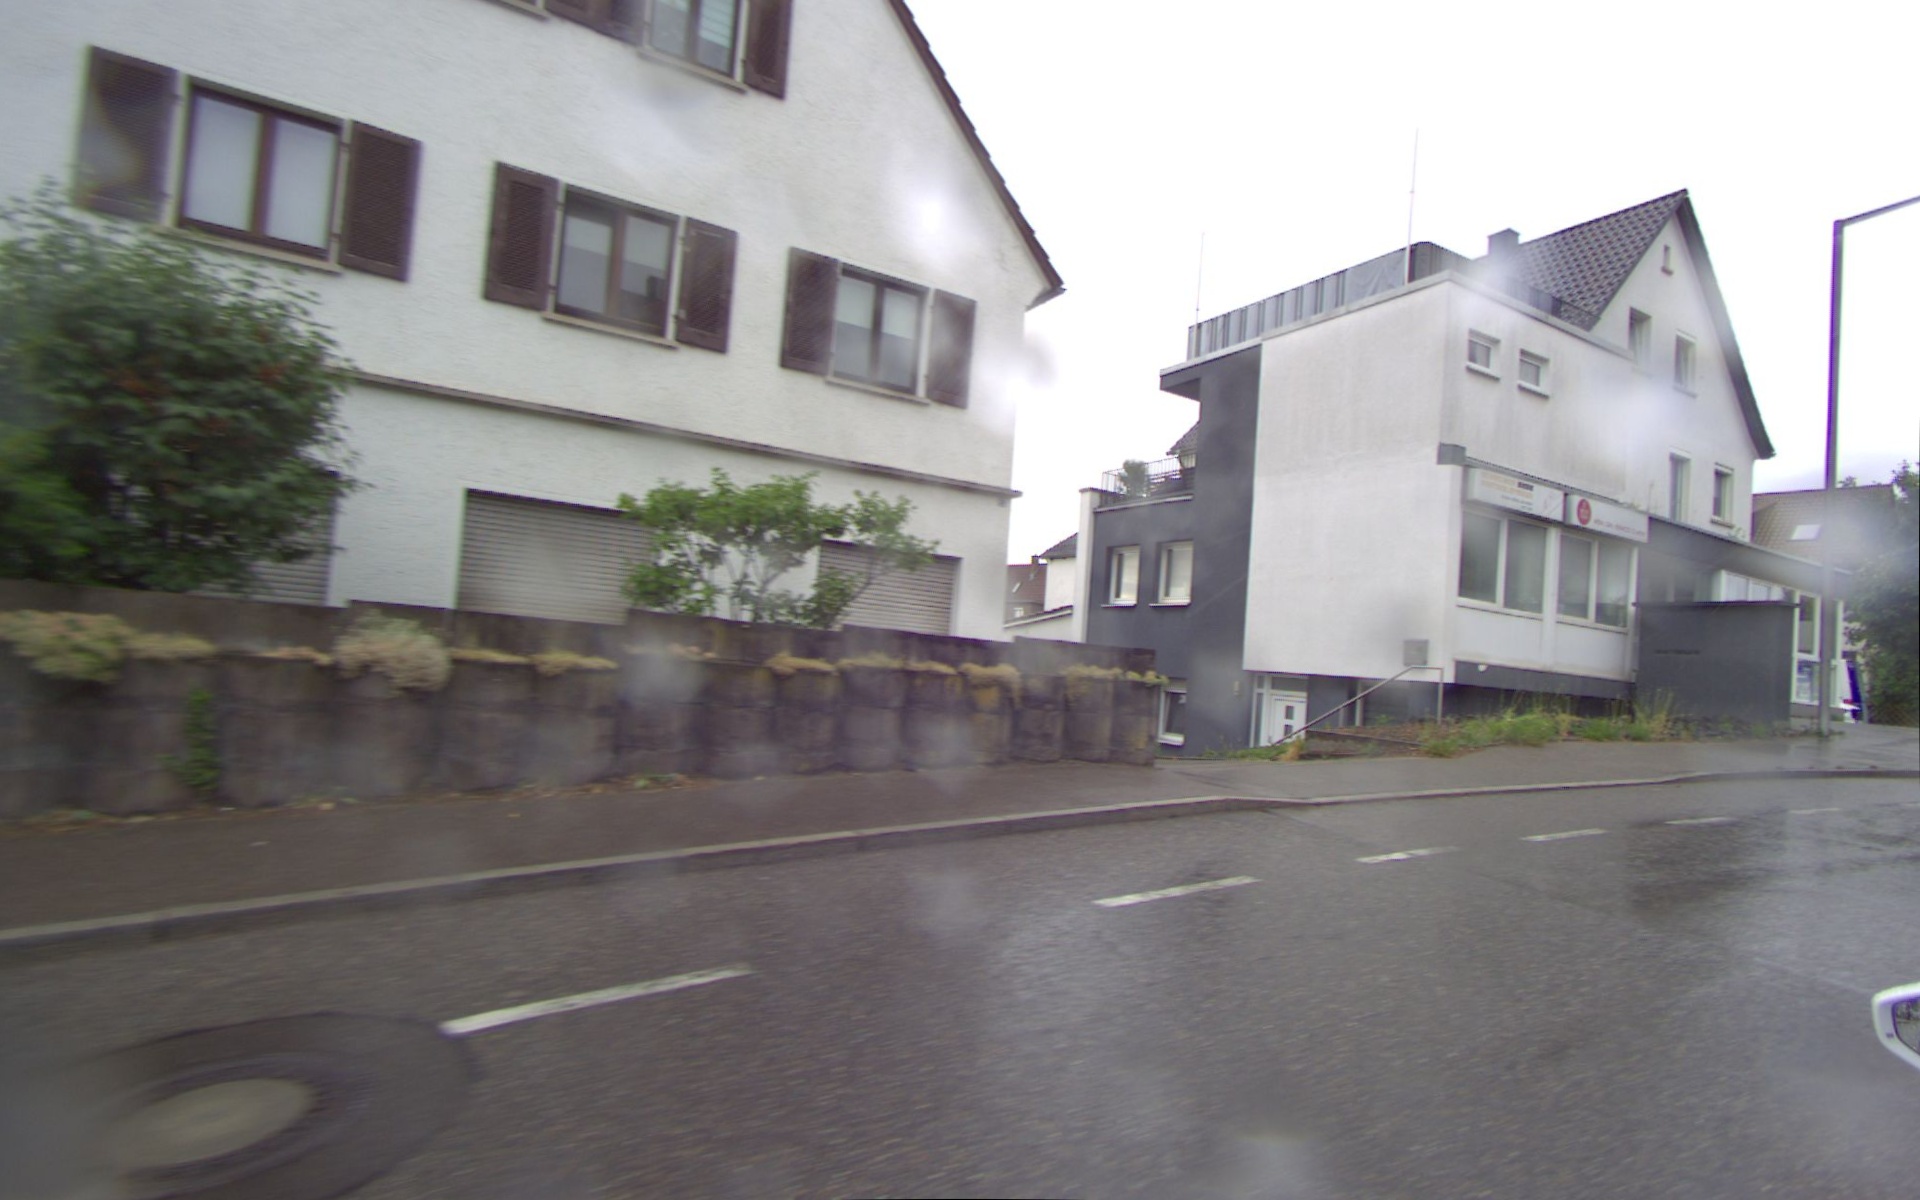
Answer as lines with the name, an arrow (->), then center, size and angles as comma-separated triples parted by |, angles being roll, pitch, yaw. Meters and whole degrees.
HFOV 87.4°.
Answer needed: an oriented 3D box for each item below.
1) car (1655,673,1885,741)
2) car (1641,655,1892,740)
car -> 23.227, 3.040, 29.024 | 2.045, 1.727, 4.754 | 5, -5, -31
car -> 26.692, 3.162, 33.548 | 2.170, 2.555, 6.193 | 5, -5, -35
